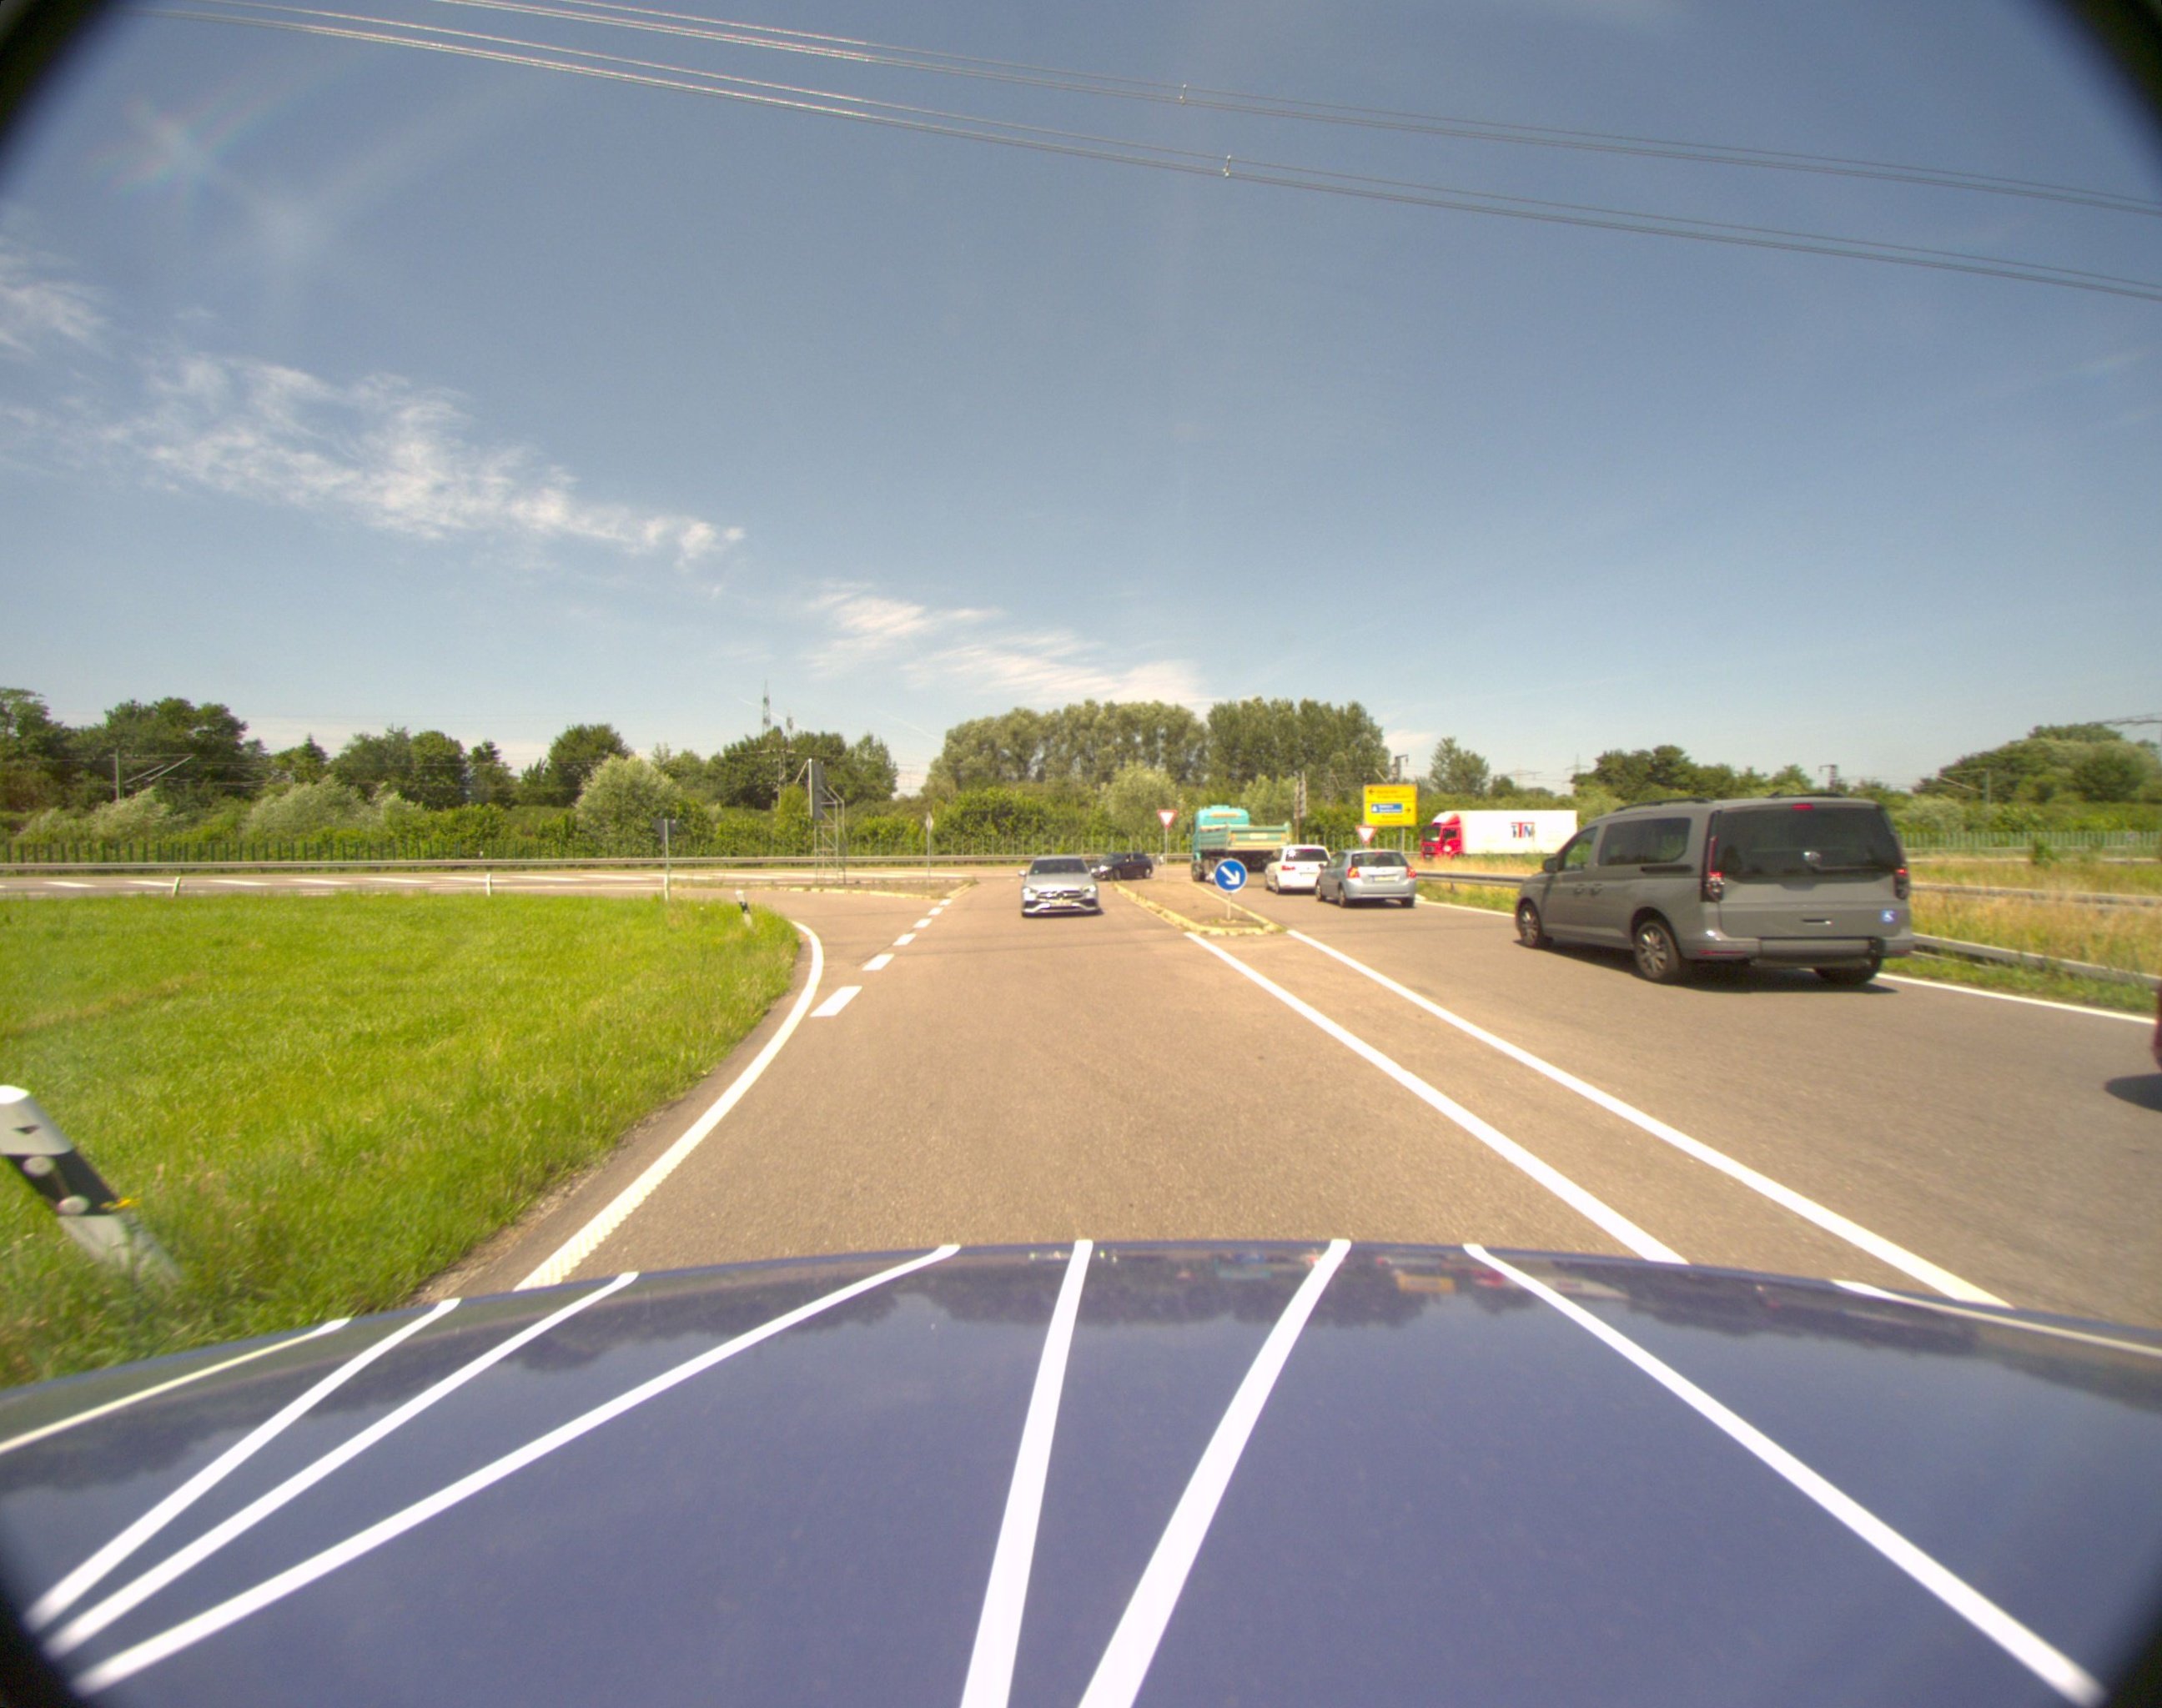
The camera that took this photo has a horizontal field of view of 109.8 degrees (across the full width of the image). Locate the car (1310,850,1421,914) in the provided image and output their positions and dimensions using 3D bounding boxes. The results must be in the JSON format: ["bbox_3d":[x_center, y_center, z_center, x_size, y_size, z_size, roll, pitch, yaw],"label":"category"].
[{"bbox_3d":[7.142,0.633,19.466,1.635,1.451,4.009,-1,0,5],"label":"car"}]

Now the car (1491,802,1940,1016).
[{"bbox_3d":[6.656,0.468,8.793,1.930,1.821,4.441,0,0,8],"label":"car"}]

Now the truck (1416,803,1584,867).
[{"bbox_3d":[26.496,-1.215,48.187,9.554,3.559,2.723,-2,1,-8],"label":"truck"}]

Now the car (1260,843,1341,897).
[{"bbox_3d":[7.282,0.486,25.655,1.776,1.611,4.332,-2,0,5],"label":"car"}]

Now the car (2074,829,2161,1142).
[{"bbox_3d":[5.797,0.648,1.716,1.802,1.507,4.394,-3,1,10],"label":"car"}]

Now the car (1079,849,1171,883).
[{"bbox_3d":[2.175,0.557,37.491,4.152,1.432,1.821,-2,4,-21],"label":"car"}]

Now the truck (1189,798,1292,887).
[{"bbox_3d":[6.697,-0.479,33.168,2.609,3.451,7.607,0,1,-2],"label":"truck"}]

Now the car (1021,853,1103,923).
[{"bbox_3d":[-0.482,0.772,19.166,1.824,1.478,4.147,-1,1,-2],"label":"car"}]
